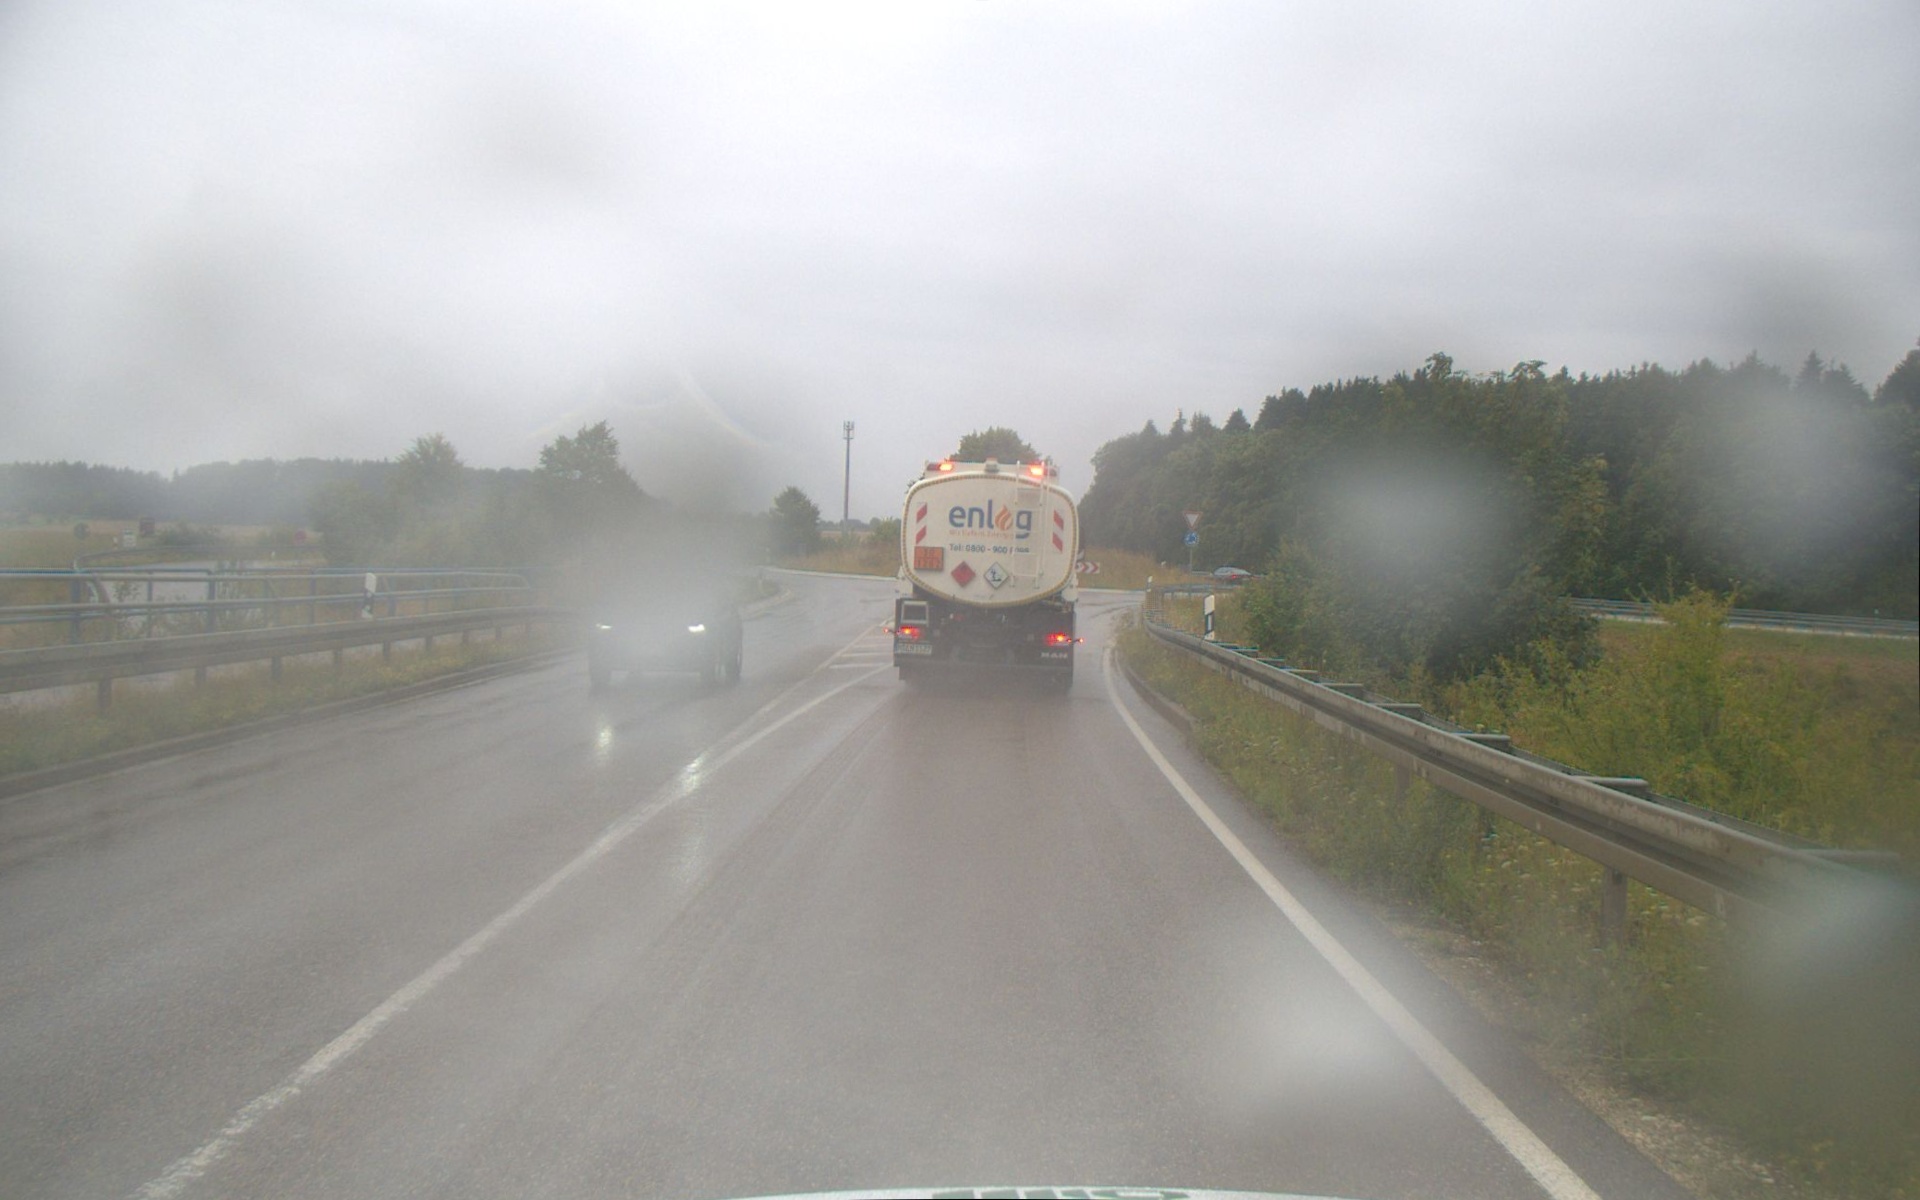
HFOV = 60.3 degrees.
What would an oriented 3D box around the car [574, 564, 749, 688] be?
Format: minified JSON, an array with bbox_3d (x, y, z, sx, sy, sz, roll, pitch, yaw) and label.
[{"bbox_3d":[-4.067,0.309,23.165,1.744,1.552,4.168,1,1,-1],"label":"car"}]

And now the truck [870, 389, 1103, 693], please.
[{"bbox_3d":[0.514,-0.889,26.037,2.976,3.918,8.826,1,2,2],"label":"truck"}]
